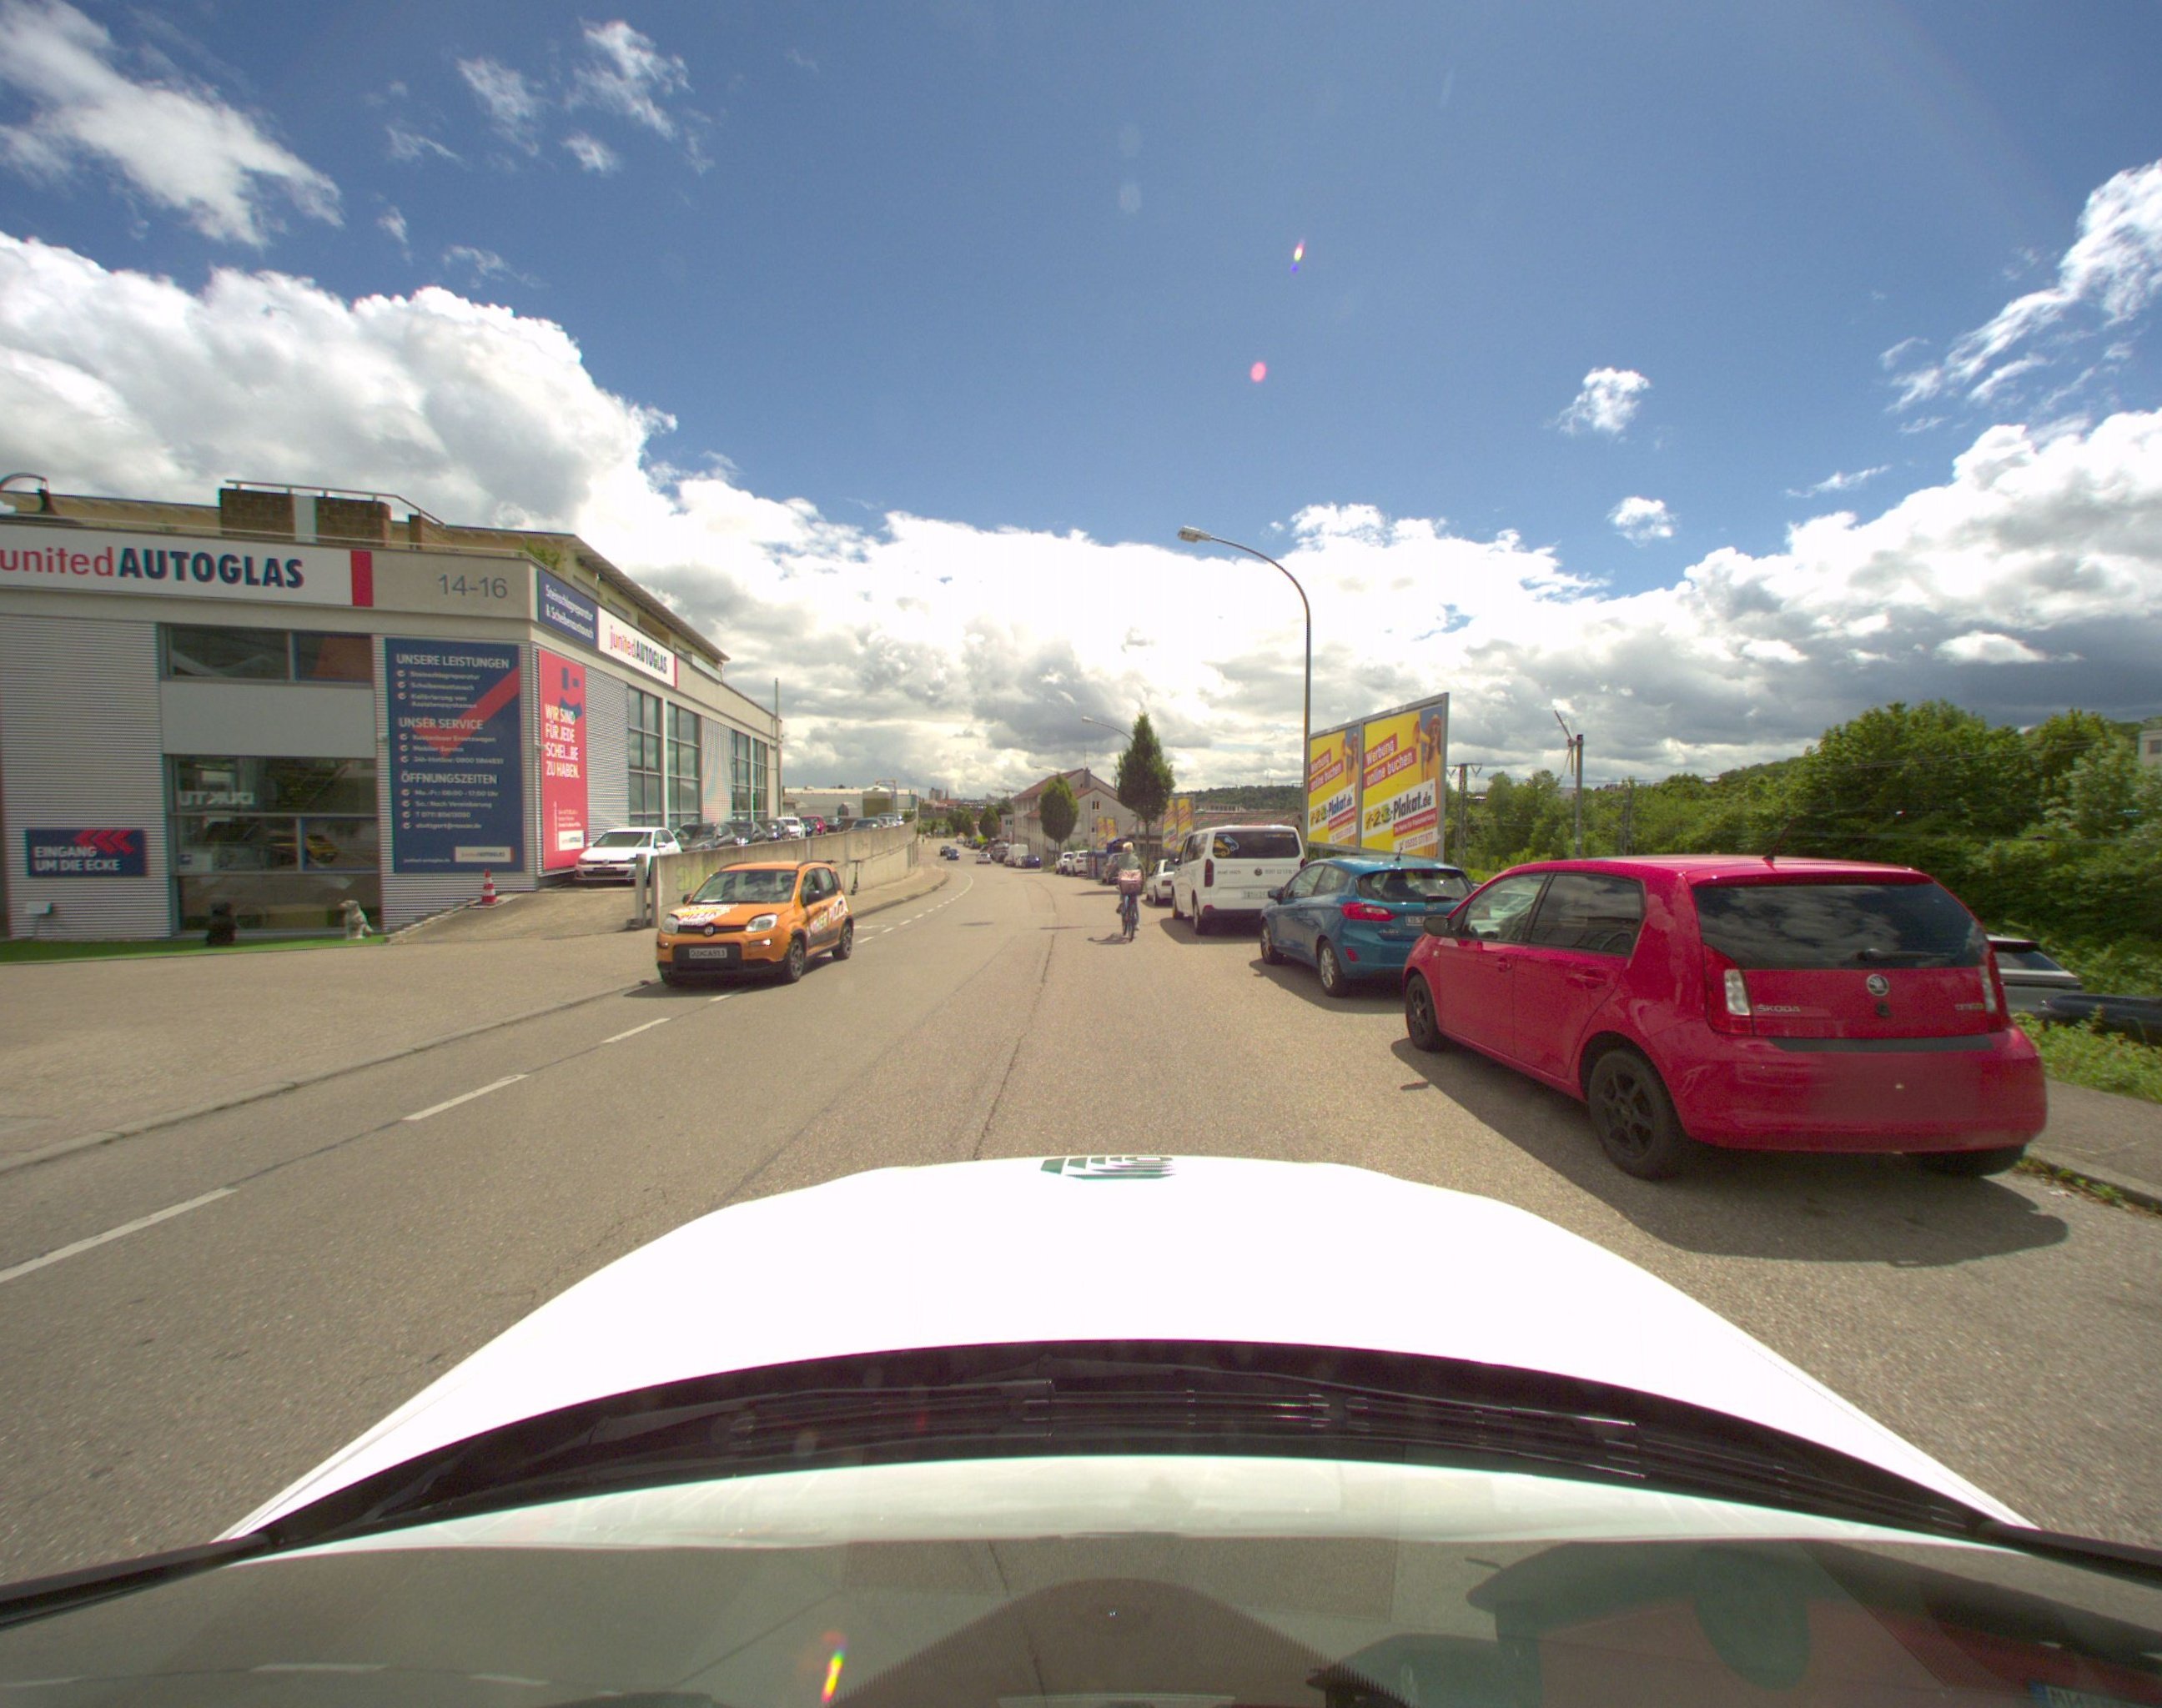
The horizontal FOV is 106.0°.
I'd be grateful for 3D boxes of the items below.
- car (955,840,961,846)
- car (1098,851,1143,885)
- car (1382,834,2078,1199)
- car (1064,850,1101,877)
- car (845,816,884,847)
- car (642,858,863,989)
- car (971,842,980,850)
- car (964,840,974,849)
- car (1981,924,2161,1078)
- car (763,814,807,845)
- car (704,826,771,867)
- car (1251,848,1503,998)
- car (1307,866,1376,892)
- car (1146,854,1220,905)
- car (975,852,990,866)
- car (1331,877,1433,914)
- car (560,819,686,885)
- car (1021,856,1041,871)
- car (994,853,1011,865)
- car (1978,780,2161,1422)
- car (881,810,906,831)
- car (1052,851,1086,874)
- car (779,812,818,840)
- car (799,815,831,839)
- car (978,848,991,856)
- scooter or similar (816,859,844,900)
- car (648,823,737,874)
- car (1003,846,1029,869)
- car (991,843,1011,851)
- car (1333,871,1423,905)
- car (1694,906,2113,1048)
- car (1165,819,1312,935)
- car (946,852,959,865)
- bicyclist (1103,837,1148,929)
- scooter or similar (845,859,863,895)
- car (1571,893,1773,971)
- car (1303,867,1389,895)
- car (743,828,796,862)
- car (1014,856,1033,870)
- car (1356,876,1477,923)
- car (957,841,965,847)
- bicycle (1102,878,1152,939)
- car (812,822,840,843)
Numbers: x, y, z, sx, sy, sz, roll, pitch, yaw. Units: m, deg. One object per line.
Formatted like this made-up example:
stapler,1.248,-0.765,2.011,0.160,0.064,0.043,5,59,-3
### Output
car,-36.174,-3.265,240.080,1.701,1.527,3.726,0,1,-10
car,1.840,0.644,39.243,1.652,1.485,4.039,-2,0,-4
car,3.295,0.661,5.075,1.587,1.481,3.500,0,0,1
car,0.056,0.608,53.960,1.686,1.659,4.463,-1,0,-10
car,-12.551,-1.269,47.453,1.806,1.637,4.090,0,0,-10
car,-4.349,0.826,11.398,1.596,1.490,3.680,-1,0,-1
car,-22.198,-1.617,171.683,1.679,1.638,4.109,0,1,-10
car,-25.660,-2.128,186.297,1.870,1.990,5.124,0,1,-12
car,11.410,1.500,7.283,1.809,1.351,4.558,-1,0,2
car,-17.091,-1.401,47.228,1.807,1.637,4.097,0,0,-11
car,-14.471,-0.297,34.511,1.807,1.637,4.097,0,0,-11
car,3.285,0.669,9.881,1.588,1.450,3.978,0,0,-1
car,16.409,1.589,51.428,3.962,1.559,1.828,-1,0,10
car,2.936,0.695,24.274,1.632,1.387,4.203,0,0,-1
car,-12.934,0.650,106.737,1.568,1.786,3.591,0,0,-12
car,12.889,1.738,34.852,3.951,1.487,1.823,-1,0,25
car,-12.471,-0.029,22.477,1.807,1.637,4.097,0,0,-11
car,-5.312,1.005,85.637,1.568,1.510,4.077,0,0,-12
car,-10.927,0.665,112.466,1.706,1.510,5.067,2,2,-12
car,3.370,0.581,0.911,1.588,1.523,2.857,0,0,-1
car,-16.041,-2.849,69.854,1.806,1.637,4.090,0,0,-10
car,-0.907,0.615,59.811,1.842,1.565,4.451,-2,0,-9
car,-18.012,-1.758,52.114,1.807,1.637,4.097,0,0,-11
car,-19.737,-1.982,60.509,1.807,1.637,4.097,0,0,-11
car,-17.218,-0.364,145.658,1.793,1.465,4.688,0,1,-13
scooter or similar,-8.111,0.802,26.330,0.556,1.276,1.304,0,-1,-3
car,-13.308,-0.165,28.148,1.807,1.637,4.097,0,0,-11
car,-7.738,0.445,96.522,2.035,2.641,7.251,0,0,-13
car,-16.370,-1.425,166.523,4.022,1.462,1.736,-1,3,40
car,14.379,1.599,39.400,3.951,1.540,1.798,-1,0,24
car,11.748,1.648,12.221,1.809,1.441,4.558,-1,0,2
car,3.017,0.402,16.851,1.968,2.004,5.546,0,0,0
car,-18.988,0.648,120.352,1.628,1.817,3.763,-2,0,-13
bicyclist,0.798,0.517,14.847,0.738,1.626,0.730,0,-1,-4
scooter or similar,-8.377,0.837,30.106,0.519,1.276,1.377,2,-1,-12
car,12.092,1.535,16.979,1.566,1.260,3.712,-1,0,1
car,15.197,1.542,46.952,4.422,1.554,2.004,-1,0,7
car,-15.711,-0.423,41.259,1.807,1.637,4.097,0,0,-11
car,-6.455,0.998,90.651,1.594,1.510,3.773,0,0,-13
car,12.276,1.653,30.054,3.957,1.635,1.724,-1,0,15
car,-33.886,-2.853,229.495,1.704,1.527,3.719,3,1,-15
bicycle,0.813,0.958,14.799,0.738,0.975,1.730,0,0,-3
car,-21.183,-1.782,67.702,1.807,1.637,4.097,0,0,-11
